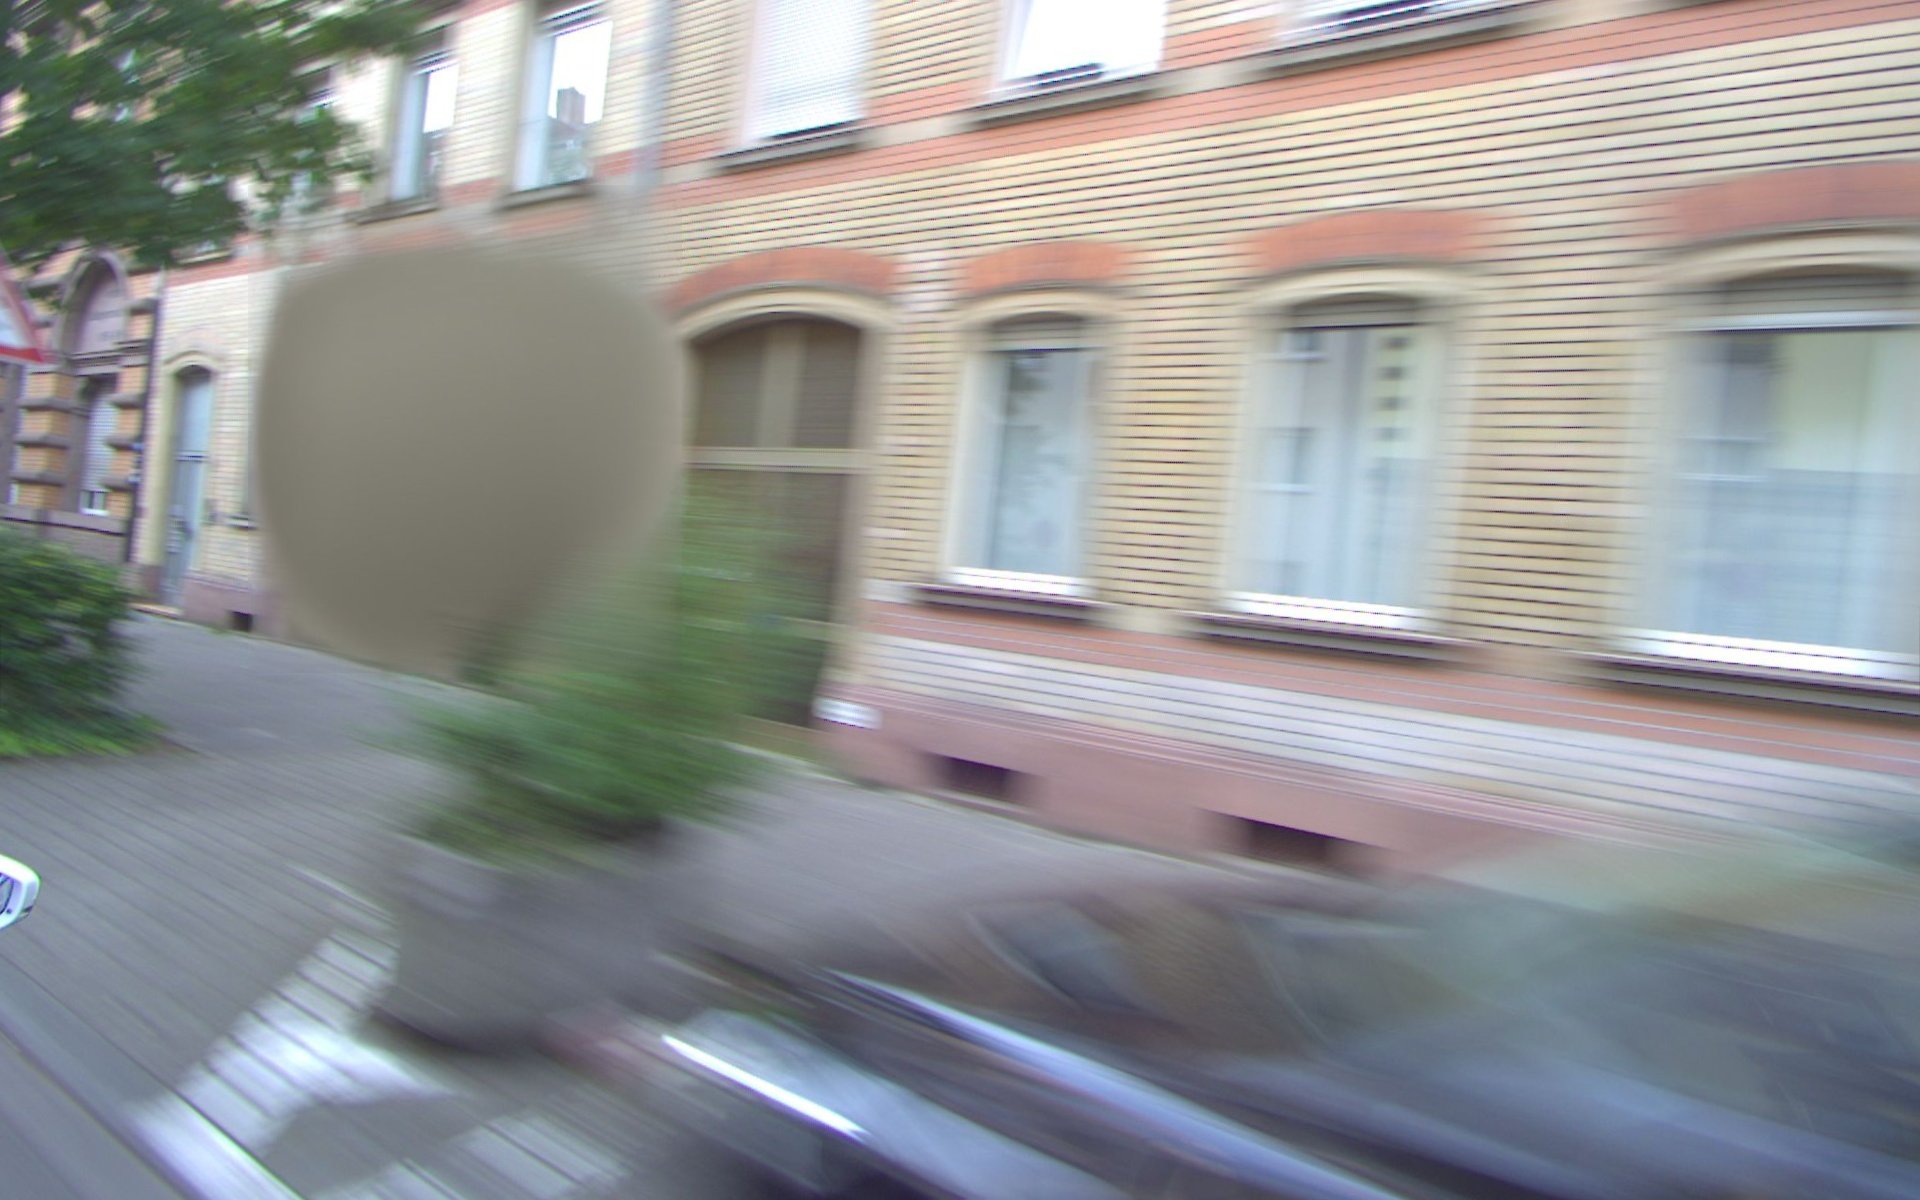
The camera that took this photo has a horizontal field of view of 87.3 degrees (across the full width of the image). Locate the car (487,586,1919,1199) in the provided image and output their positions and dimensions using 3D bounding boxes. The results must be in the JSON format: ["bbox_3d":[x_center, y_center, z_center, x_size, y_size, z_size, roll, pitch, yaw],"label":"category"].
[{"bbox_3d":[1.580,0.938,1.211,4.399,1.433,1.768,6,1,32],"label":"car"}]
